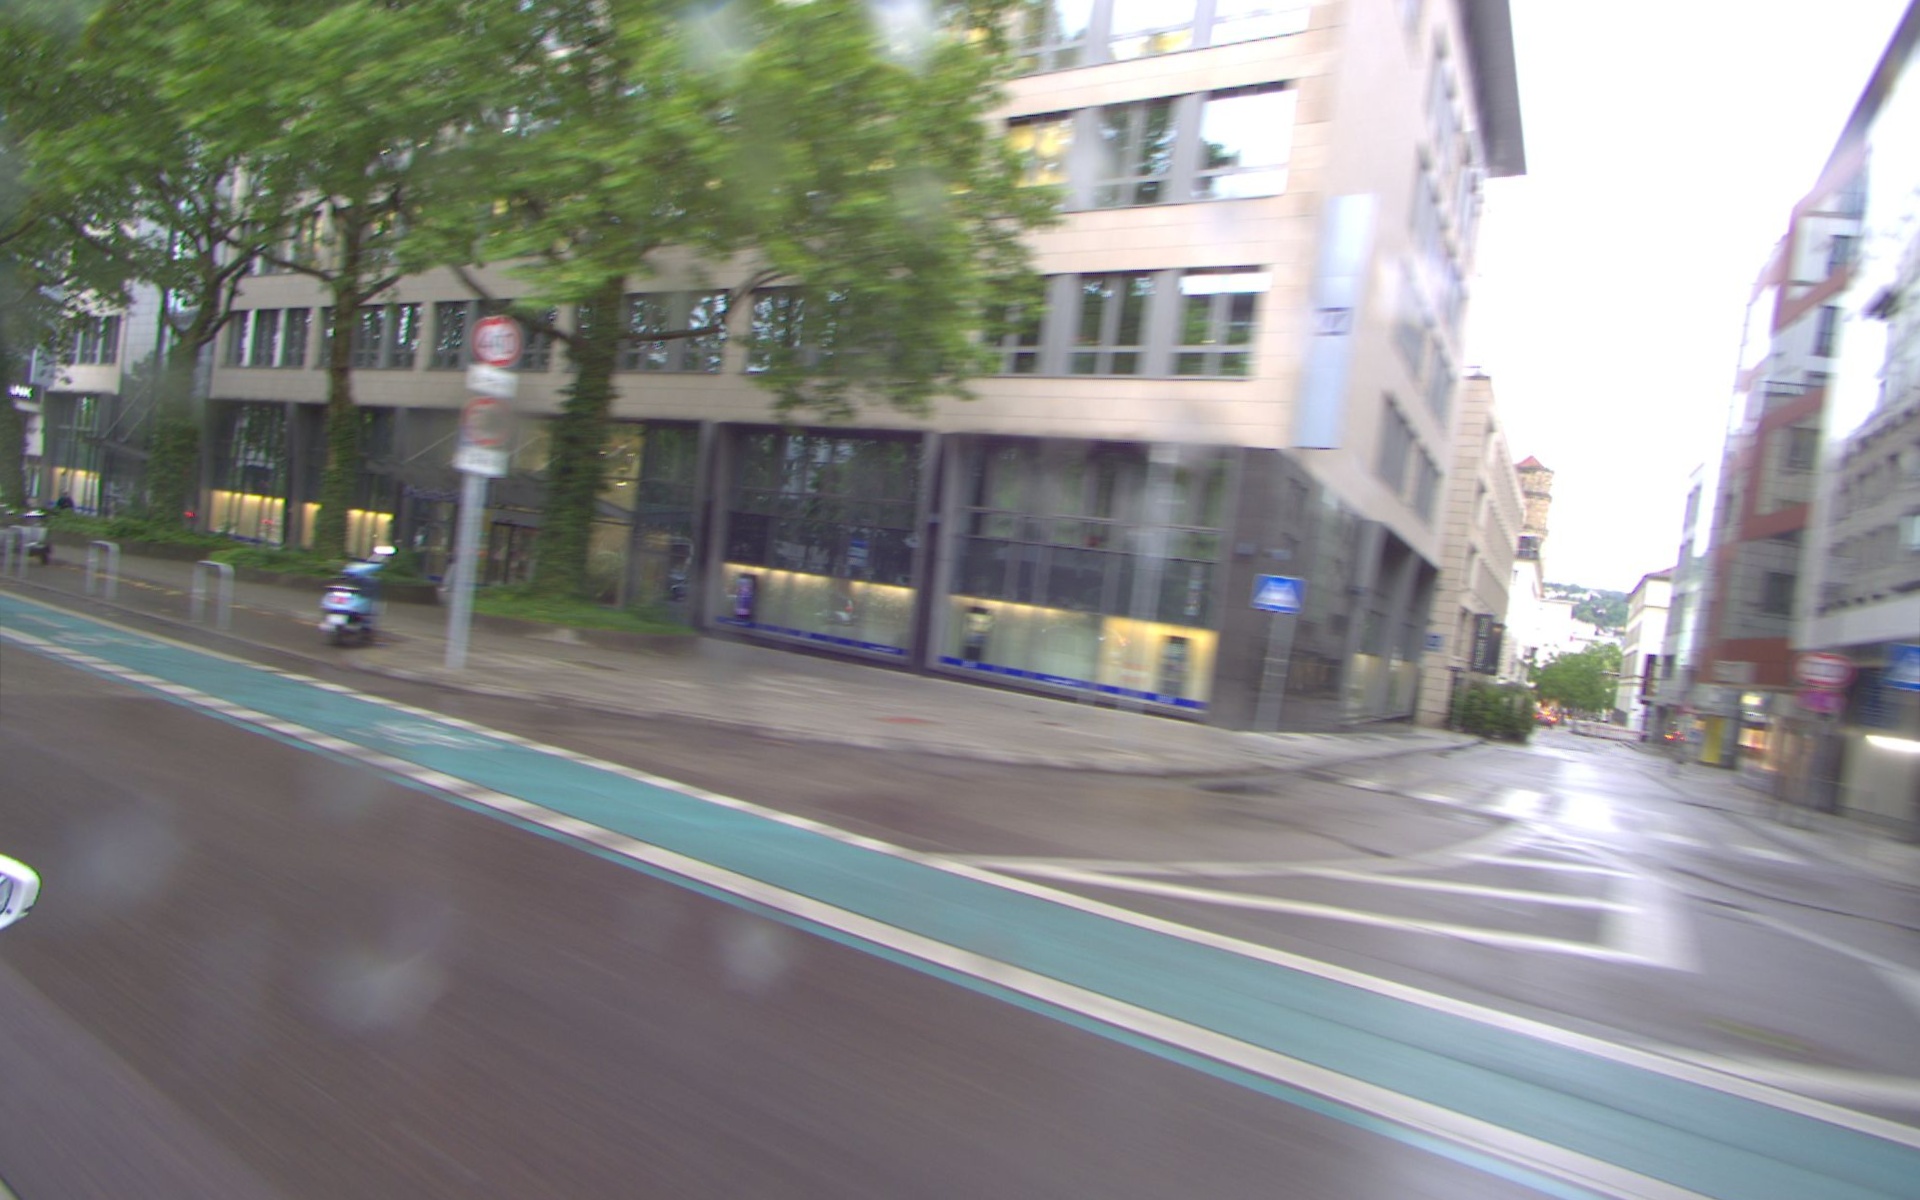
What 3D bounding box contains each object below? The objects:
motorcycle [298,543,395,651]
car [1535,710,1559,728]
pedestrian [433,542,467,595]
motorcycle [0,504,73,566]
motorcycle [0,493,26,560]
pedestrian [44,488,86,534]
[{"bbox_3d":[-8.638,-0.088,14.240,0.674,1.385,1.937,4,2,-18],"label":"motorcycle"},{"bbox_3d":[58.536,11.859,100.368,1.732,1.548,3.849,7,-2,28],"label":"car"},{"bbox_3d":[-17.608,-1.078,34.751,0.718,1.714,0.825,7,1,-16],"label":"pedestrian"},{"bbox_3d":[-19.738,-1.352,20.993,0.672,1.229,2.057,6,2,-4],"label":"motorcycle"},{"bbox_3d":[-21.847,-1.693,21.929,0.715,1.447,2.060,8,1,10],"label":"motorcycle"},{"bbox_3d":[-40.434,-4.009,45.431,1.255,1.872,0.919,6,-1,31],"label":"pedestrian"}]
